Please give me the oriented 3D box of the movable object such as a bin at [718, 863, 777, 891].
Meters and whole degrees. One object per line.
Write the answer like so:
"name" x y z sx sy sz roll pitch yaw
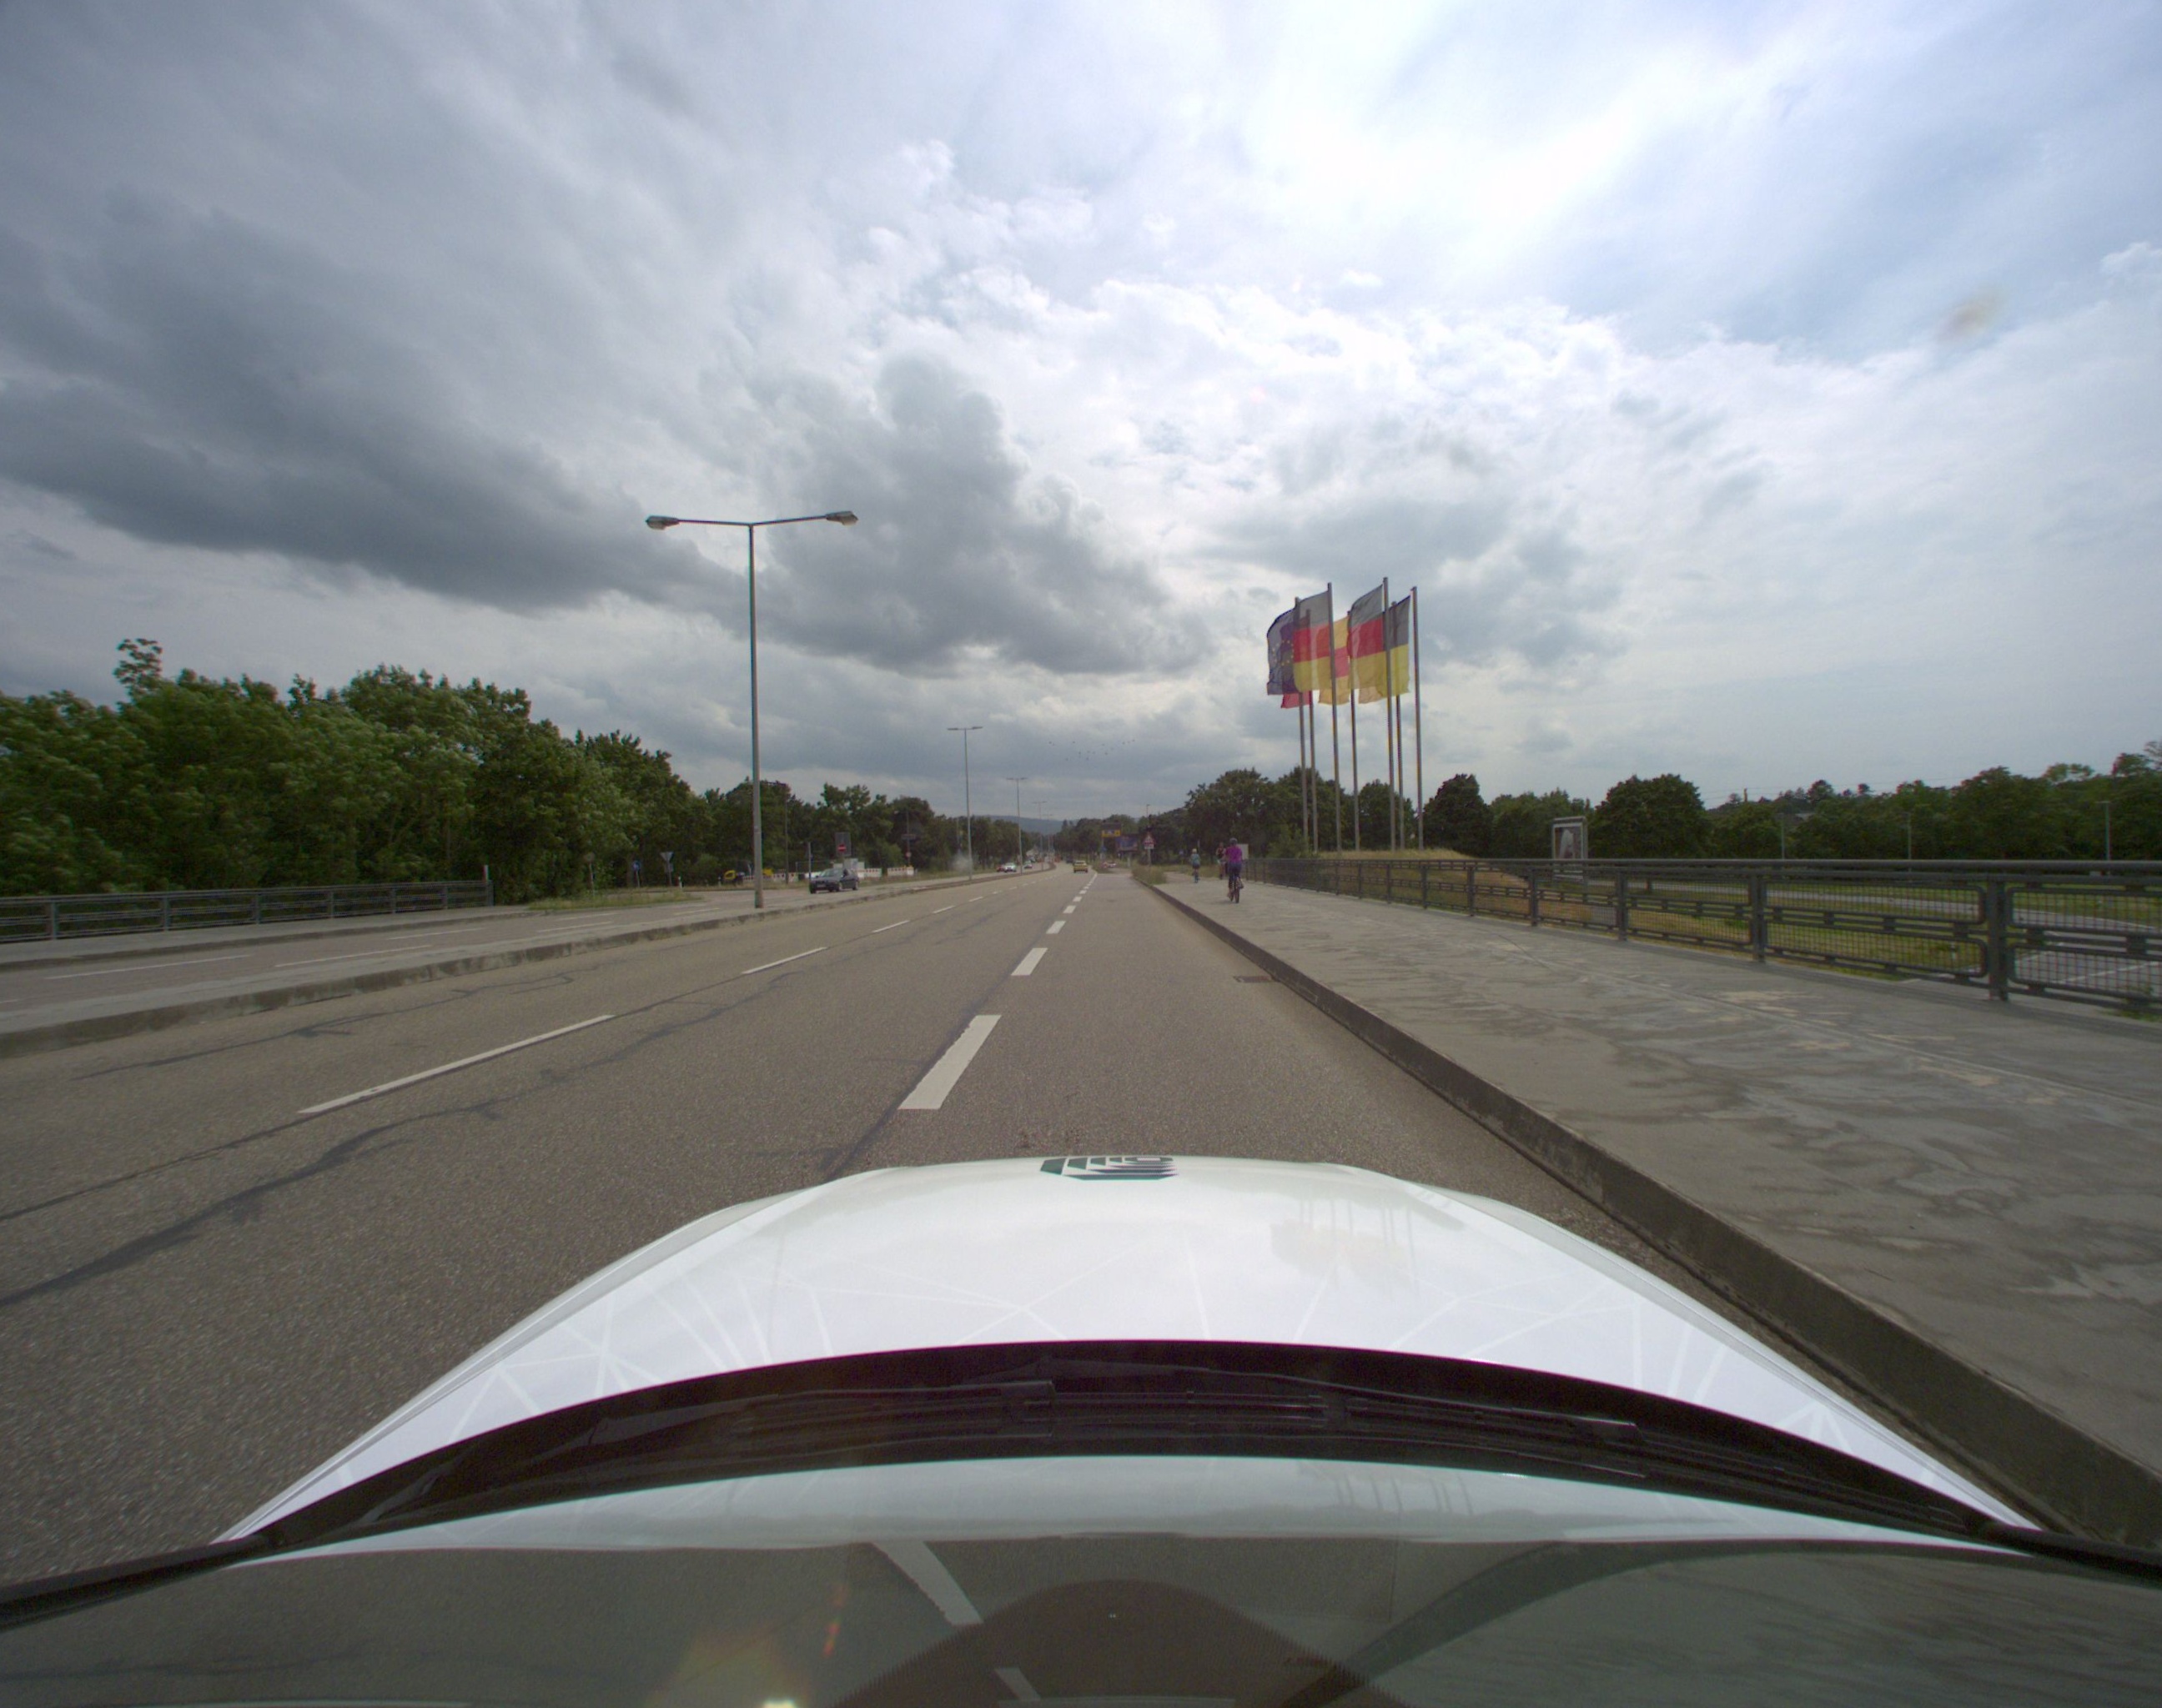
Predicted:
"movable object such as a bin" -30.386 2.085 74.336 4.578 2.397 1.993 -1 0 -10

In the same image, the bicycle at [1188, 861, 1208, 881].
"bicycle" 5.589 0.806 39.141 0.621 0.888 2.154 -1 1 -1

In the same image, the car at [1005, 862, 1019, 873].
"car" -11.541 2.247 136.312 1.688 1.629 4.385 -1 1 1

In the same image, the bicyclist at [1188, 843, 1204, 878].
"bicyclist" 5.580 0.321 39.560 0.620 1.666 0.669 -1 0 -1

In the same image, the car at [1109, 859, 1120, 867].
"car" 7.284 1.938 176.732 2.008 1.670 3.998 -1 1 -1

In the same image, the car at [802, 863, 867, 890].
"car" -14.279 1.272 47.448 1.984 1.373 4.583 -3 -1 5

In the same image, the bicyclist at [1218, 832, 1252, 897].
"bicyclist" 4.258 0.280 22.585 0.701 1.755 0.991 -2 0 -1

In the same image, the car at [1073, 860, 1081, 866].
"car" -1.051 2.538 226.114 2.199 1.684 3.999 -1 1 0

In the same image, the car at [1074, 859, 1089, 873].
"car" 0.094 1.510 103.287 1.788 1.562 3.998 -1 1 -1

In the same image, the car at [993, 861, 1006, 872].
"car" -15.514 2.430 155.537 1.986 1.882 4.001 3 -1 1

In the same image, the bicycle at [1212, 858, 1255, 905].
"bicycle" 4.267 0.744 22.956 0.691 1.192 2.460 -2 0 0

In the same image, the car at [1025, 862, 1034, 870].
"car" -12.502 2.805 196.757 1.896 1.809 4.539 -1 1 0

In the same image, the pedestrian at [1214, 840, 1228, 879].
"pedestrian" 7.343 0.265 42.795 0.625 2.013 0.668 -1 0 1
